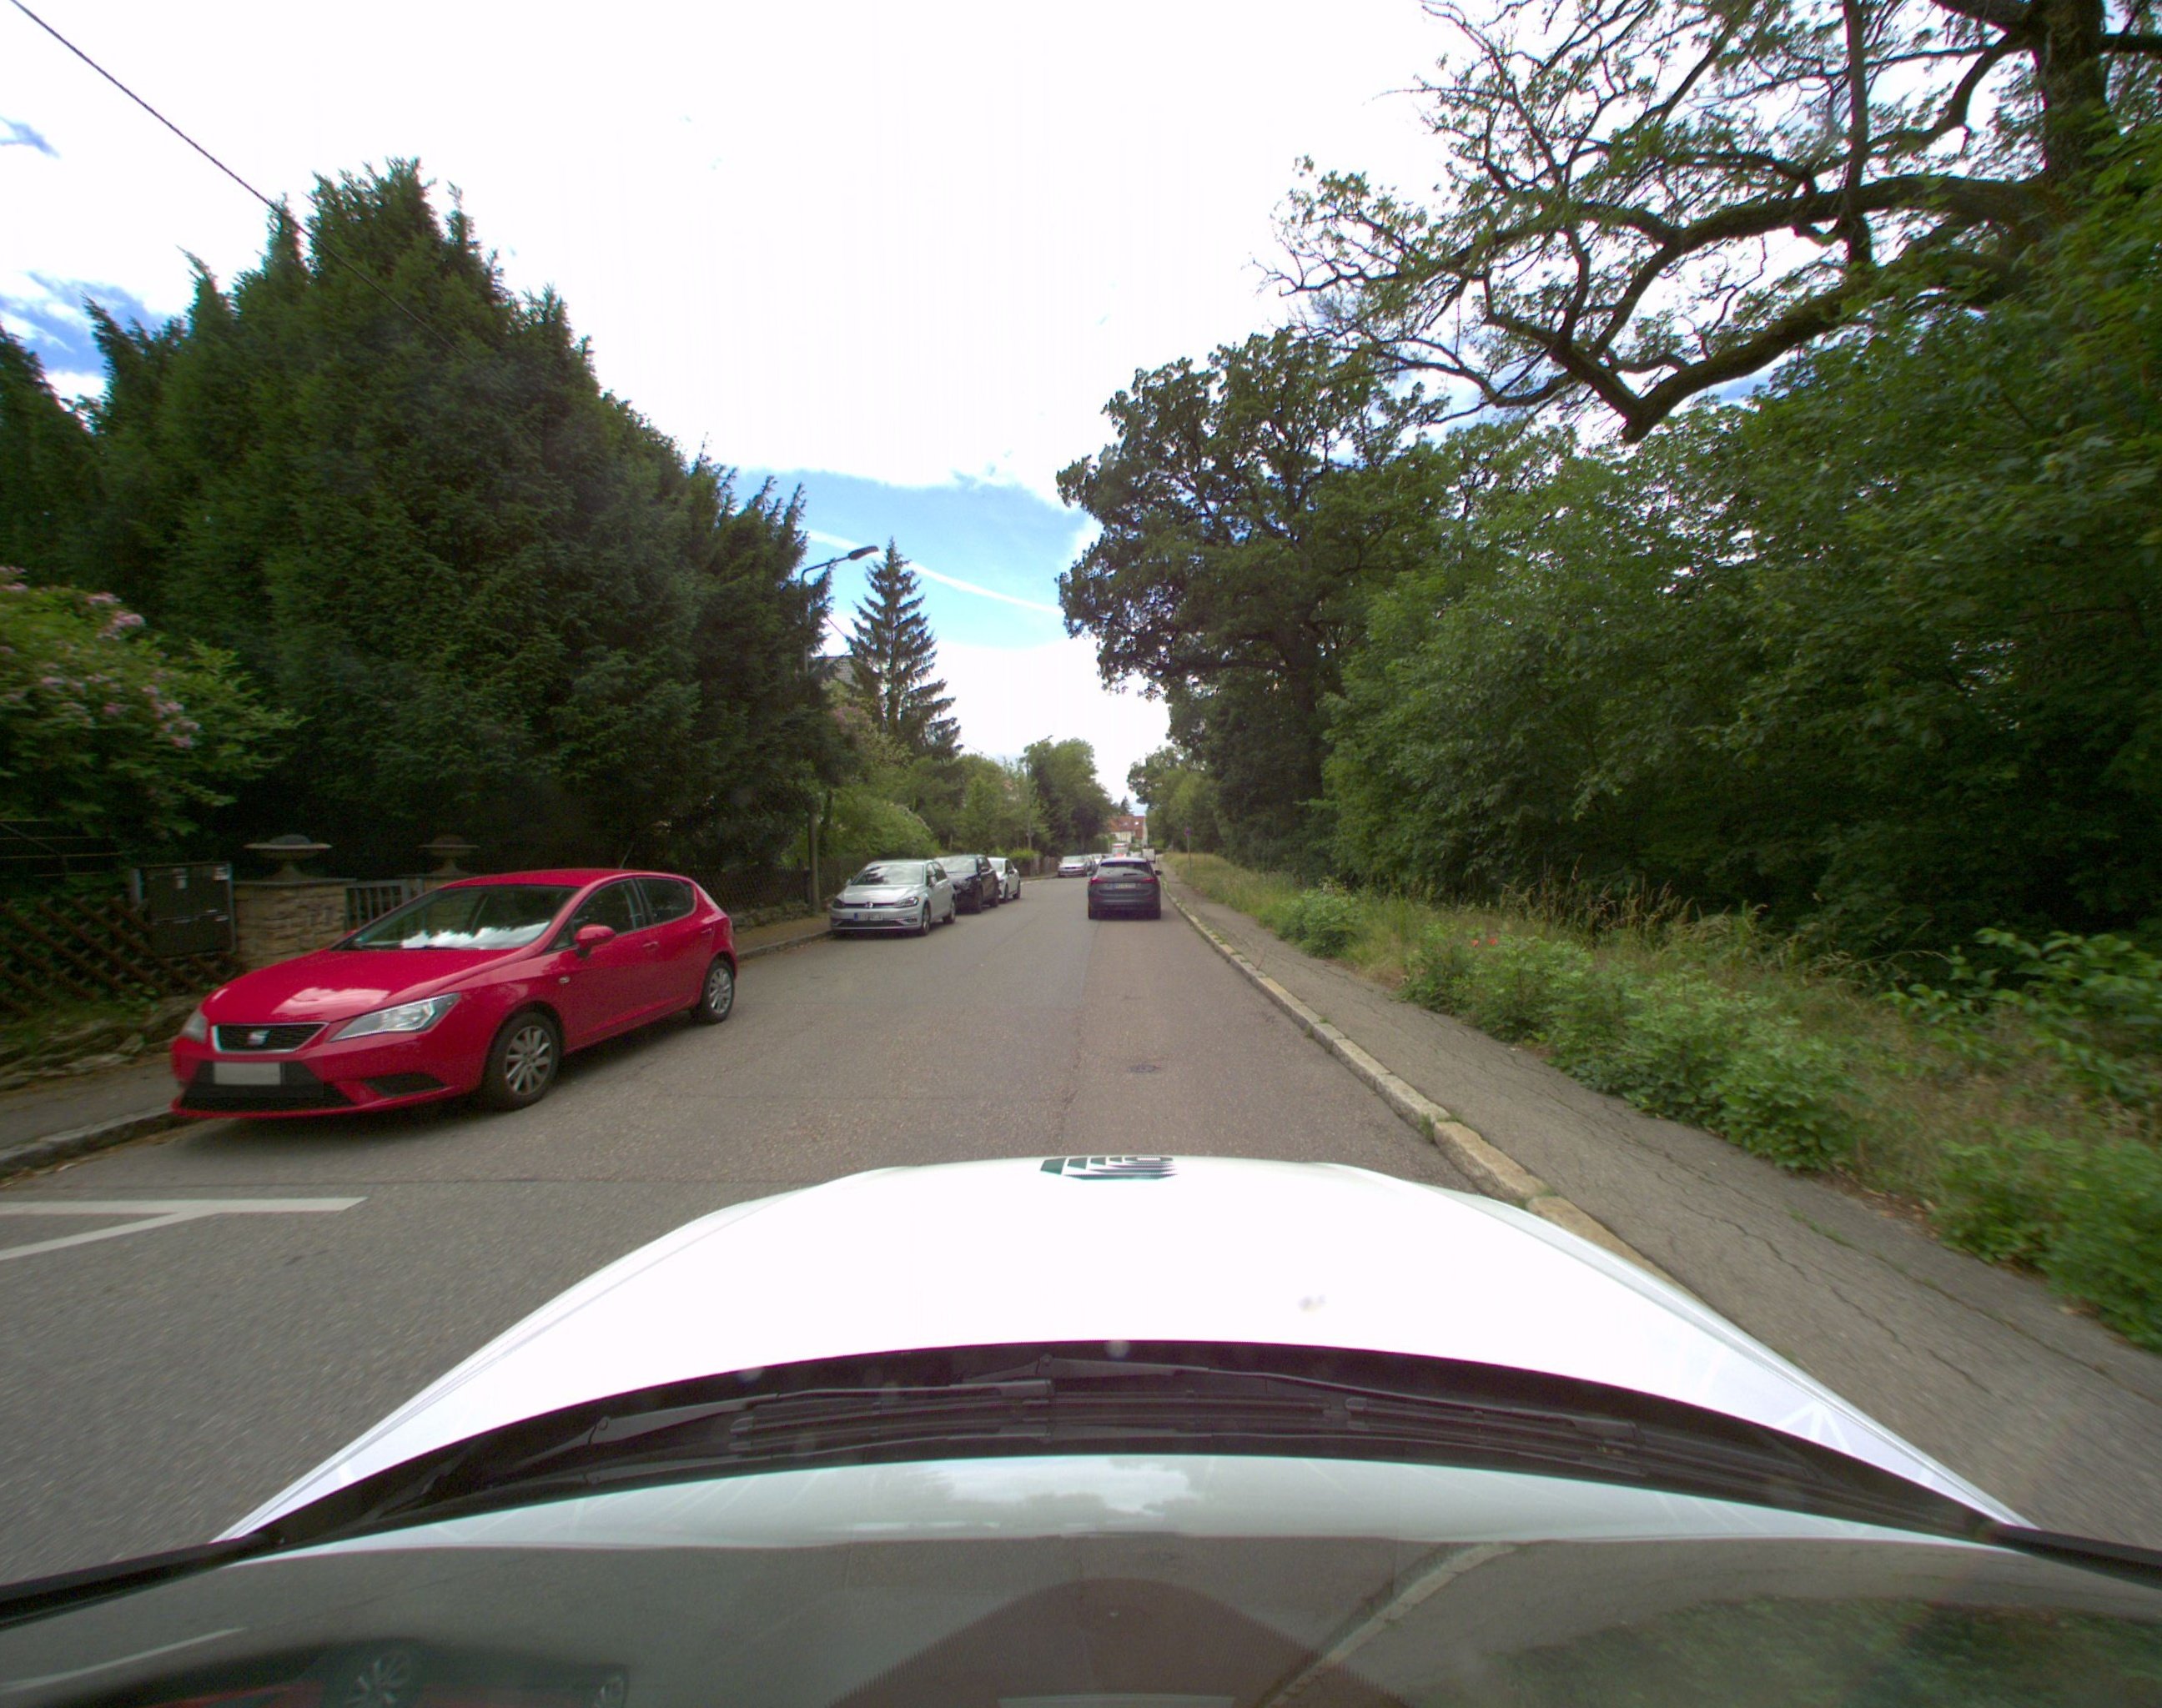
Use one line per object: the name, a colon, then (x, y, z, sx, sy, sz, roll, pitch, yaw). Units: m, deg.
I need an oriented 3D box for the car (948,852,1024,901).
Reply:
car: (-3.052, 0.685, 26.974, 1.776, 1.500, 4.019, 0, 0, 4)

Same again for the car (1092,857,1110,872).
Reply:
car: (2.068, 1.083, 84.507, 1.714, 1.505, 4.008, -3, -1, 1)

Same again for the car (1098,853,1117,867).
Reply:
car: (3.211, 0.724, 96.907, 1.788, 1.505, 4.872, -3, -1, 7)

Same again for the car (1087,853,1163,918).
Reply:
car: (1.081, 0.706, 20.523, 1.721, 1.439, 4.326, 0, 0, 2)

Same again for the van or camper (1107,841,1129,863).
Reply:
van or camper: (5.007, -0.227, 111.424, 2.449, 2.895, 7.165, -2, 0, -1)

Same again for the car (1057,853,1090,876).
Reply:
car: (-0.466, 0.701, 54.979, 1.840, 1.439, 4.914, -2, 0, 3)

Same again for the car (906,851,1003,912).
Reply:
car: (-3.363, 0.687, 22.339, 1.776, 1.500, 4.019, 0, 0, 4)

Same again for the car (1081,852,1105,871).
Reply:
car: (1.140, 0.649, 74.057, 1.909, 1.562, 4.607, -3, 0, 2)

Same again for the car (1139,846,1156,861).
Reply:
car: (9.131, -0.057, 111.956, 2.064, 1.922, 4.924, 0, 0, 2)

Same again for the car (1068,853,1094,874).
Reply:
car: (0.032, 0.707, 61.156, 1.727, 1.439, 4.265, -2, 0, 2)

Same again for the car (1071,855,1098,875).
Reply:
car: (0.319, 0.872, 66.323, 1.826, 1.439, 4.122, -2, 0, 5)

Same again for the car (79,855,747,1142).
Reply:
car: (-4.195, 0.738, 6.047, 1.730, 1.439, 3.789, 0, 0, 2)

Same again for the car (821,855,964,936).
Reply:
car: (-3.704, 0.755, 16.818, 1.776, 1.439, 4.326, 0, 0, 2)
